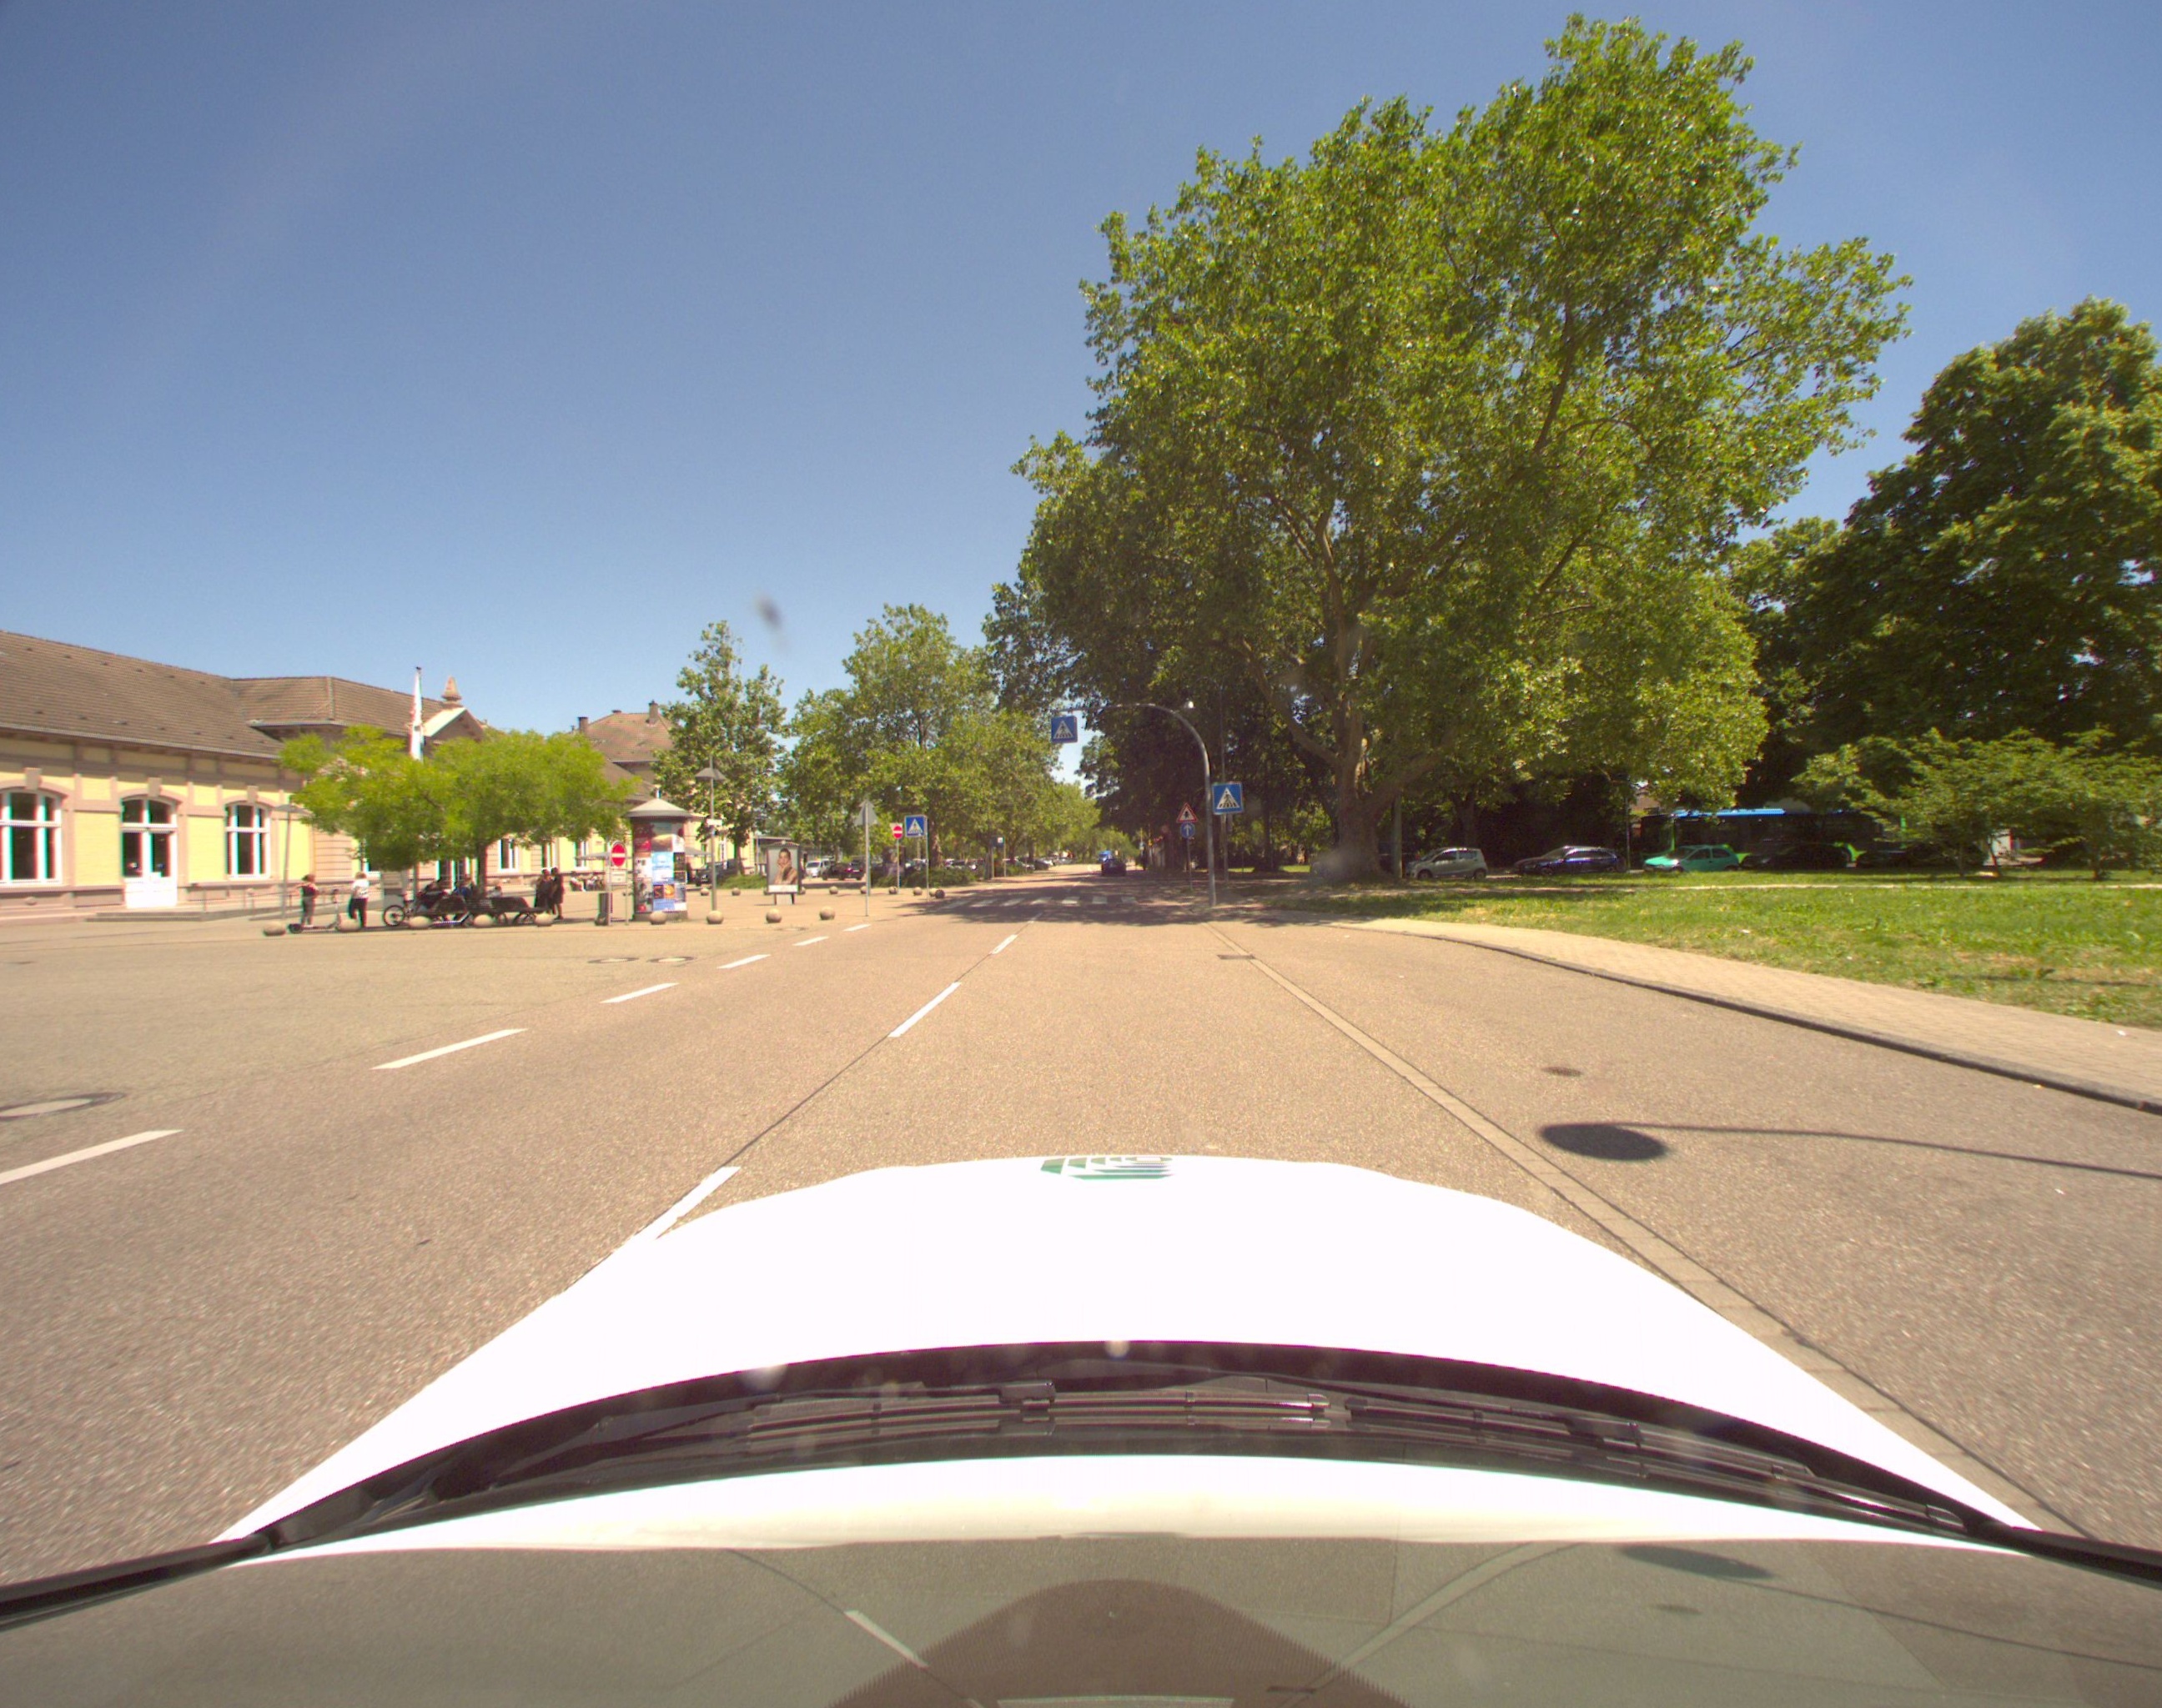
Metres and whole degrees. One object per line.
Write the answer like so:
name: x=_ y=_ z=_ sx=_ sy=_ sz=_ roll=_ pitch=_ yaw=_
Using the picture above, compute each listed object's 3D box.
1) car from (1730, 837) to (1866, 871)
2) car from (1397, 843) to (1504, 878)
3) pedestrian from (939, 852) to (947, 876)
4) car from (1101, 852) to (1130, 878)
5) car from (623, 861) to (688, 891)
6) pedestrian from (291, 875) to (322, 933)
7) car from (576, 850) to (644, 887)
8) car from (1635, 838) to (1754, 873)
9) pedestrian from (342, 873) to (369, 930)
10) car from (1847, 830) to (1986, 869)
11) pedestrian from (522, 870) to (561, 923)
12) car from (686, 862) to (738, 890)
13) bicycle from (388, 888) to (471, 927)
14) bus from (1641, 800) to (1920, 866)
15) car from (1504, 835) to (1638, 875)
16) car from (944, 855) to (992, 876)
car: x=32.449 y=0.014 z=36.966 sx=4.320 sy=1.416 sz=2.001 roll=-1 pitch=-1 yaw=2
car: x=17.015 y=0.281 z=37.675 sx=4.086 sy=1.466 sz=2.003 roll=-2 pitch=0 yaw=4
pedestrian: x=-12.016 y=0.891 z=70.849 sx=0.625 sy=2.014 sz=0.568 roll=-1 pitch=-2 yaw=-12
car: x=2.593 y=0.819 z=62.186 sx=2.117 sy=1.848 sz=4.050 roll=-1 pitch=0 yaw=2
car: x=-28.613 y=1.460 z=54.932 sx=1.744 sy=1.917 sz=4.777 roll=-2 pitch=-1 yaw=2
pedestrian: x=-22.768 y=1.455 z=23.938 sx=0.661 sy=1.673 sz=0.623 roll=0 pitch=-3 yaw=-44
car: x=-32.426 y=0.983 z=56.246 sx=1.713 sy=2.468 sz=5.005 roll=0 pitch=0 yaw=1
car: x=27.784 y=0.091 z=37.008 sx=3.864 sy=1.454 sz=2.002 roll=-1 pitch=-1 yaw=3
pedestrian: x=-22.030 y=1.435 z=24.732 sx=0.589 sy=1.710 sz=0.580 roll=0 pitch=-3 yaw=-44
car: x=37.718 y=-0.180 z=36.861 sx=4.079 sy=1.609 sz=2.002 roll=-1 pitch=-1 yaw=3
pedestrian: x=-17.529 y=1.374 z=26.466 sx=0.754 sy=1.659 sz=0.724 roll=-2 pitch=-2 yaw=19
car: x=-28.035 y=1.631 z=62.075 sx=1.986 sy=2.013 sz=4.002 roll=-2 pitch=0 yaw=2
bicycle: x=-18.866 y=1.552 z=23.619 sx=1.800 sy=1.030 sz=0.485 roll=-1 pitch=-1 yaw=-22
bus: x=36.372 y=-1.055 z=42.600 sx=12.332 sy=2.978 sz=2.269 roll=-2 pitch=-1 yaw=1
car: x=22.213 y=0.039 z=37.080 sx=4.801 sy=1.607 sz=2.003 roll=-2 pitch=0 yaw=5
car: x=-10.139 y=1.020 z=72.702 sx=3.996 sy=1.782 sz=1.989 roll=-1 pitch=-1 yaw=-17
